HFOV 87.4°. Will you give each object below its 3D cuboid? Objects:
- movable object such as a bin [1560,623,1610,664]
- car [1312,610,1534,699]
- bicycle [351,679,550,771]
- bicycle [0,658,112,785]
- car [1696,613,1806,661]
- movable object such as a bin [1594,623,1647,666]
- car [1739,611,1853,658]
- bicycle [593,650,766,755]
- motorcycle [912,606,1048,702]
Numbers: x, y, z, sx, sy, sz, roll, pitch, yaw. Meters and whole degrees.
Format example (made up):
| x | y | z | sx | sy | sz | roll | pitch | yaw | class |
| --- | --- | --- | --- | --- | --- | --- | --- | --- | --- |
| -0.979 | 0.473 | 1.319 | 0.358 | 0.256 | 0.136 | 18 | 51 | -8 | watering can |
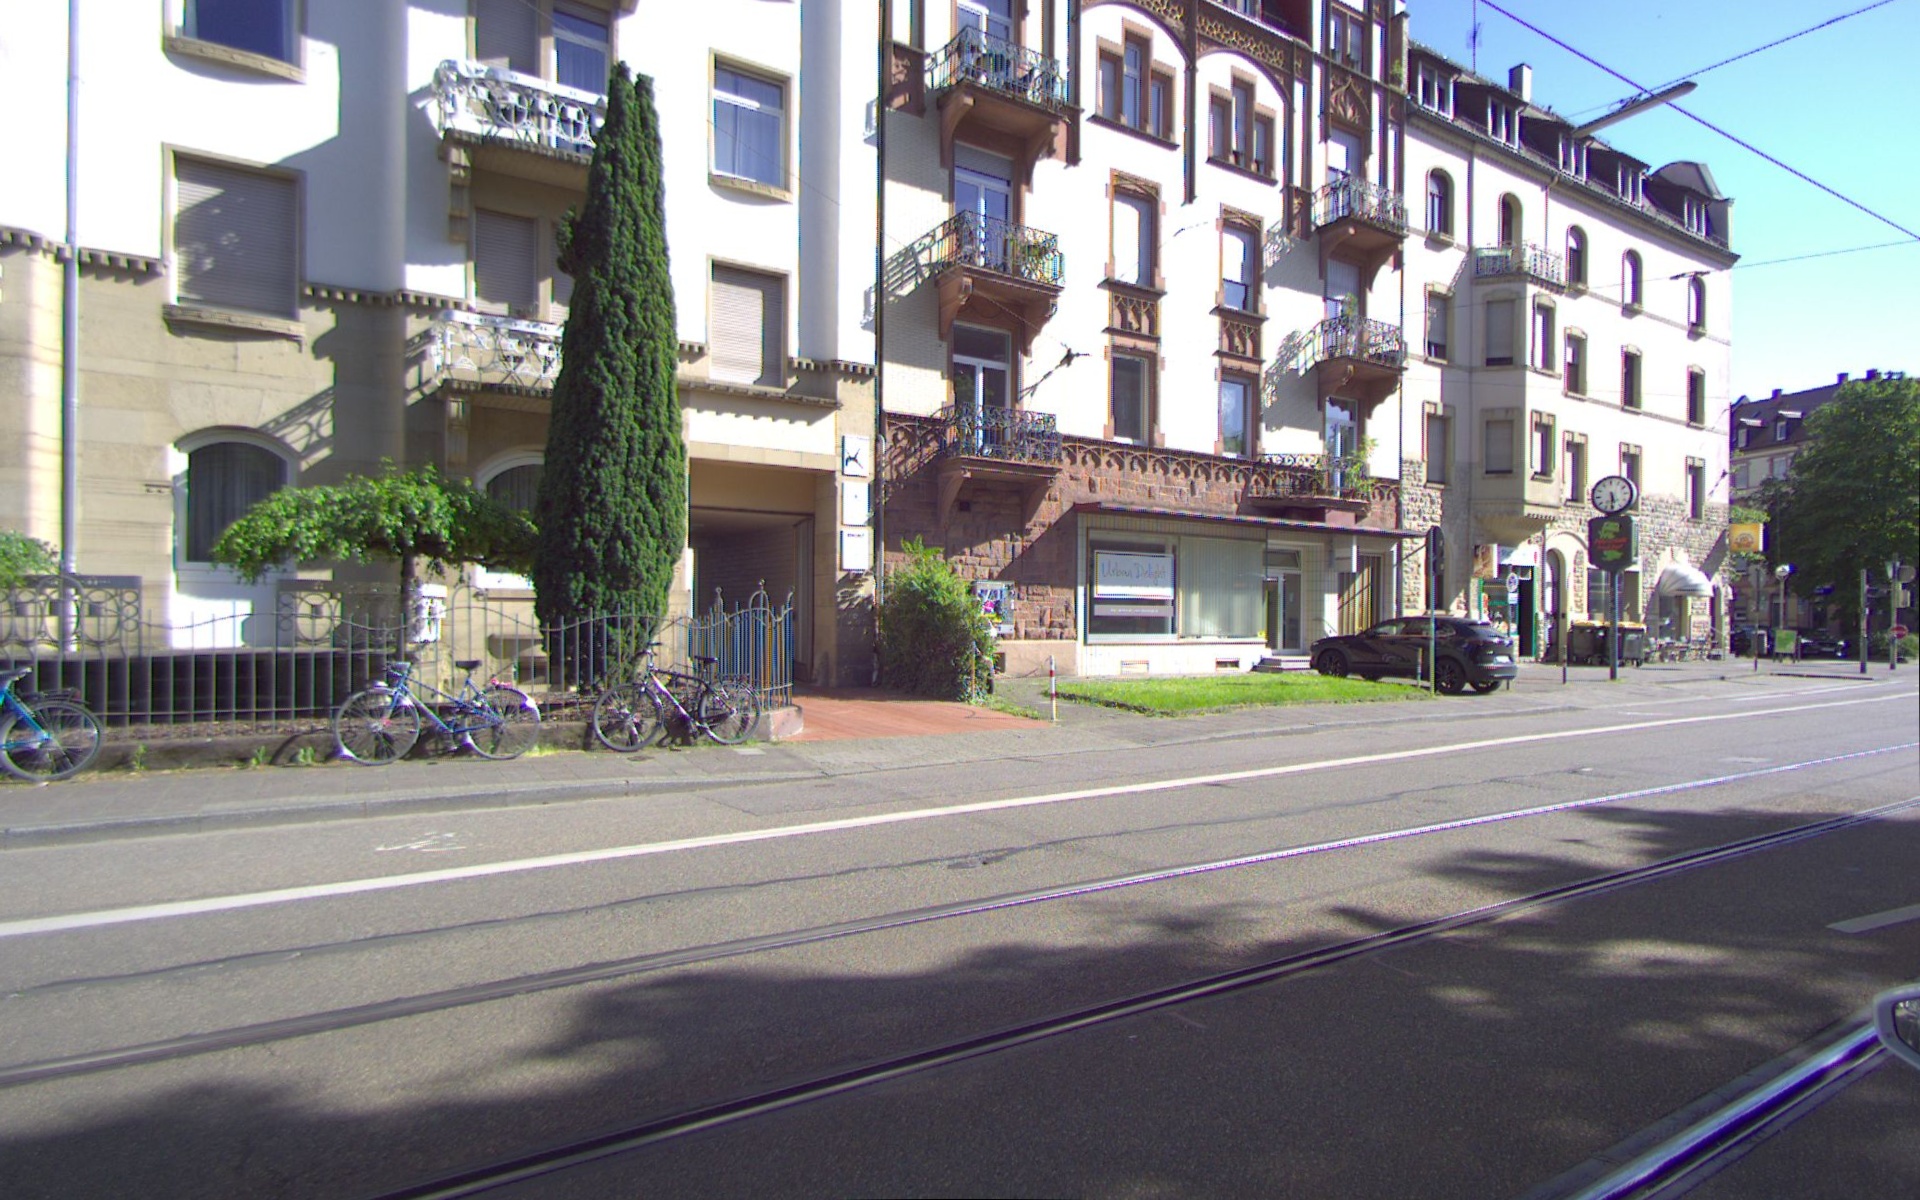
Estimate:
| x | y | z | sx | sy | sz | roll | pitch | yaw | class |
| --- | --- | --- | --- | --- | --- | --- | --- | --- | --- |
| 19.939 | 1.392 | 32.068 | 1.228 | 1.239 | 0.829 | 2 | 0 | -28 | movable object such as a bin |
| 9.860 | 1.098 | 21.653 | 1.755 | 1.523 | 3.958 | 2 | 1 | -36 | car |
| -4.761 | 1.149 | 9.460 | 1.633 | 0.772 | 0.316 | 2 | 0 | -31 | bicycle |
| -7.706 | 0.936 | 7.739 | 1.728 | 0.955 | 0.402 | 2 | 0 | -31 | bicycle |
| 37.064 | 1.693 | 47.200 | 1.961 | 2.040 | 3.999 | 2 | 0 | -1 | car |
| 20.662 | 1.394 | 31.427 | 1.128 | 1.290 | 0.942 | 2 | 0 | -26 | movable object such as a bin |
| 39.312 | 1.587 | 47.376 | 1.961 | 2.040 | 3.999 | 2 | 0 | -1 | car |
| -3.005 | 1.078 | 10.846 | 1.728 | 1.053 | 0.402 | 2 | 0 | -31 | bicycle |
| 0.274 | 0.883 | 17.628 | 0.814 | 1.476 | 3.067 | 2 | 0 | -32 | motorcycle |
